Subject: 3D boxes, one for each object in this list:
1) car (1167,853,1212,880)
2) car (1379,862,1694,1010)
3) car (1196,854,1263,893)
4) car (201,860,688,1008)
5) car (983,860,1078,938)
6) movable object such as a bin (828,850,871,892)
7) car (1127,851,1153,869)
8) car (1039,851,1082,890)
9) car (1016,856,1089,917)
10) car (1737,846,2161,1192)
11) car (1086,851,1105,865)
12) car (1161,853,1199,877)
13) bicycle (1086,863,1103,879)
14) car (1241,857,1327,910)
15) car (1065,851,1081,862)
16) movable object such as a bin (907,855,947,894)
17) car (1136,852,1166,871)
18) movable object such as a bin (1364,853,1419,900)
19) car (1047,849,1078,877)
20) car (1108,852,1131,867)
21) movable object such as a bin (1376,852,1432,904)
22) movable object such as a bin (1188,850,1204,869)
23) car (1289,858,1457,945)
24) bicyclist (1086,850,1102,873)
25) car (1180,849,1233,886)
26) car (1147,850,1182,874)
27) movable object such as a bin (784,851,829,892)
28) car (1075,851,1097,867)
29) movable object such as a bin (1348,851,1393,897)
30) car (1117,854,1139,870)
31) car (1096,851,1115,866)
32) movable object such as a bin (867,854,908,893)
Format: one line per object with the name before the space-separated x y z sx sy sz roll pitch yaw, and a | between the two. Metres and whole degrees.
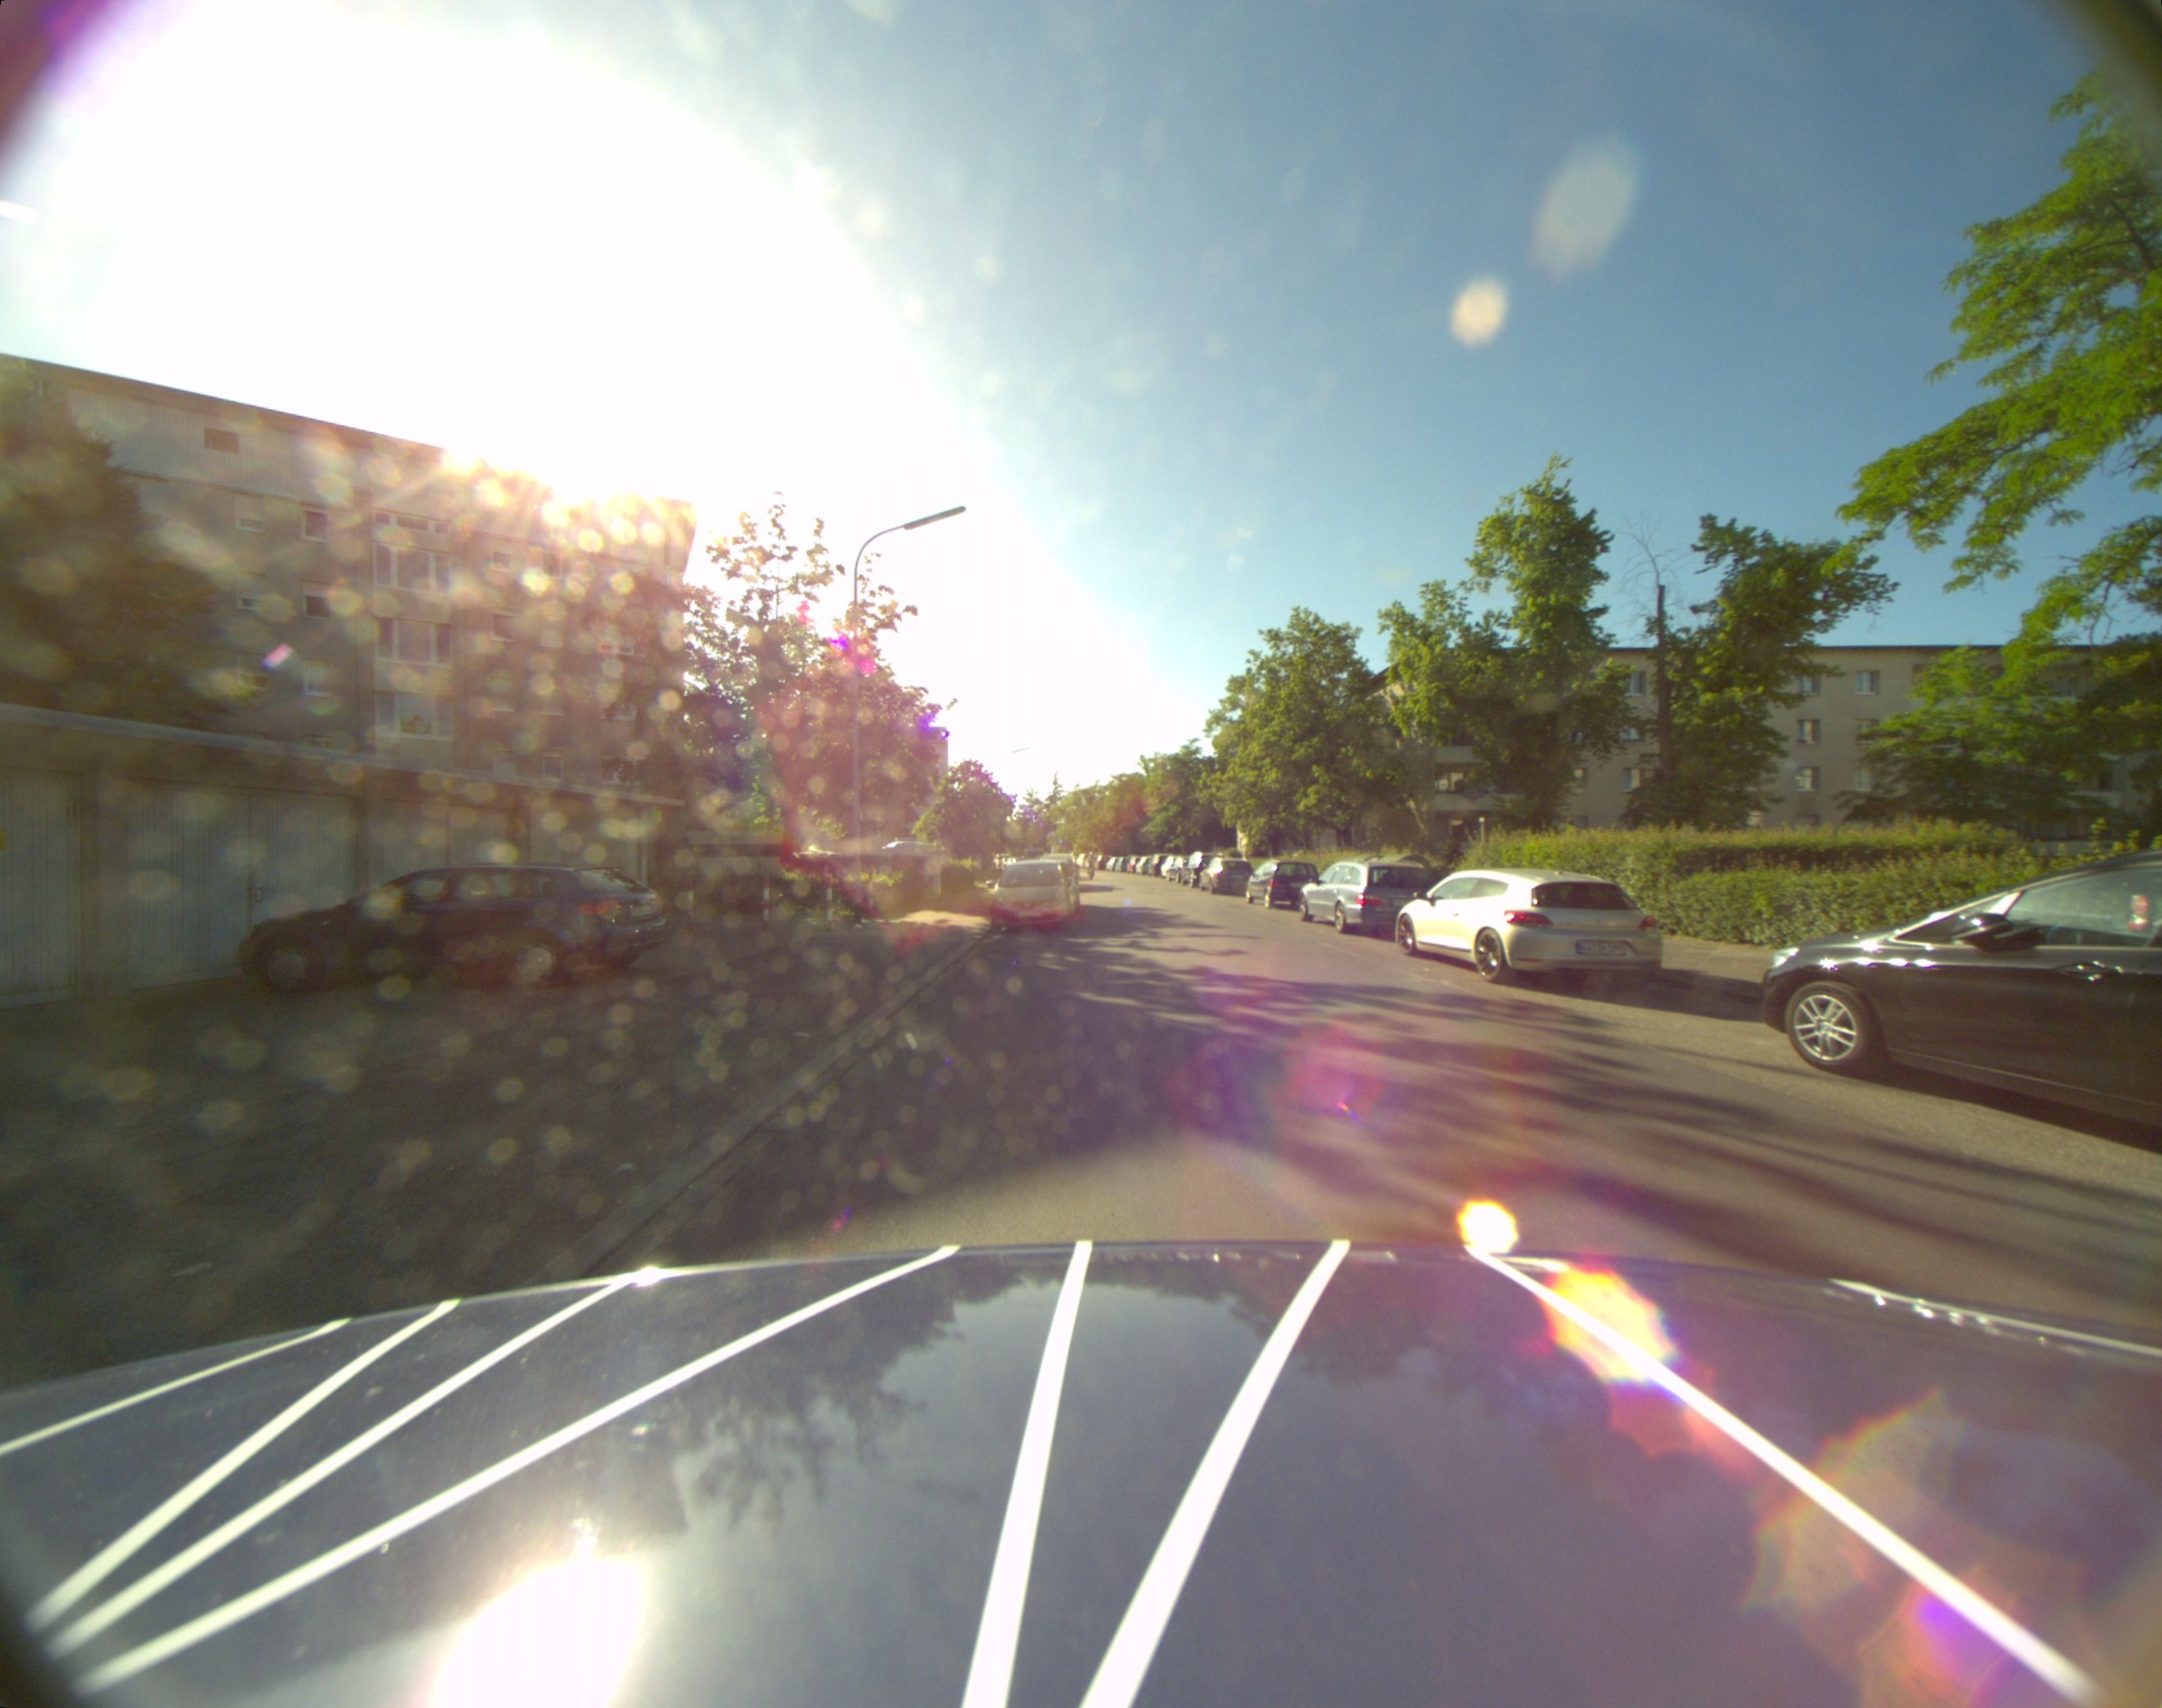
car | 5.950 0.637 42.201 1.642 1.377 4.169 1 0 -4
car | 5.684 0.894 10.221 1.758 1.417 4.210 2 1 2
car | 6.010 0.756 31.267 1.759 1.377 4.673 1 1 -1
car | -7.312 0.863 9.125 4.194 1.486 1.817 -1 1 -3
car | -1.027 0.922 17.228 1.809 1.486 3.795 -1 0 1
movable object such as a bin | -8.619 0.619 28.299 1.328 1.528 1.029 -1 1 -6
car | 5.117 0.521 66.233 1.636 1.470 3.877 1 0 -5
car | -0.879 0.708 35.065 1.758 1.617 4.495 -1 0 1
car | -0.721 0.846 22.054 1.835 1.537 4.640 -1 0 1
car | 5.979 0.800 3.680 1.759 1.626 4.370 2 0 0
car | 1.761 0.427 91.748 1.659 1.621 3.687 1 0 -8
car | 6.240 0.641 48.187 1.759 1.428 4.150 1 0 -1
bicycle | 0.805 1.001 46.003 0.824 0.896 2.202 -1 0 -4
car | 6.171 0.859 23.487 1.653 1.455 3.495 1 0 -1
car | -1.193 0.355 109.191 1.659 1.558 3.686 1 0 -11
movable object such as a bin | -5.771 0.761 28.502 1.328 1.419 1.069 2 0 -6
car | 5.576 0.575 60.761 1.811 1.470 3.939 1 0 -3
movable object such as a bin | 9.688 0.695 23.727 1.122 1.358 1.257 -3 1 -2
car | -1.222 0.562 48.224 1.759 1.664 4.411 -1 0 -4
car | 3.902 0.578 78.105 1.659 1.470 3.733 1 0 -7
movable object such as a bin | 9.496 0.690 22.396 1.004 1.407 1.326 -3 1 -2
movable object such as a bin | 8.969 0.415 59.430 0.897 1.407 1.264 -3 1 -4
car | 5.947 0.868 16.167 1.758 1.481 4.901 2 0 2
bicyclist | 0.786 0.436 46.166 0.813 1.348 1.090 -1 1 -5
car | 6.022 0.624 36.921 1.759 1.659 4.389 1 0 -1
car | 5.915 0.536 54.171 1.811 1.596 4.431 1 0 -2
movable object such as a bin | -10.104 0.634 28.052 1.326 1.472 1.029 -1 1 -6
car | 0.628 0.632 97.369 1.886 1.857 5.434 1 0 -10
movable object such as a bin | 9.533 0.645 25.045 0.897 1.407 1.326 -3 1 -2
car | 4.535 0.712 73.110 1.658 1.470 3.104 1 0 -5
car | 2.740 0.442 85.600 1.658 1.621 4.069 1 0 -6
movable object such as a bin | -7.206 0.709 28.390 1.328 1.423 1.029 -1 1 -6
